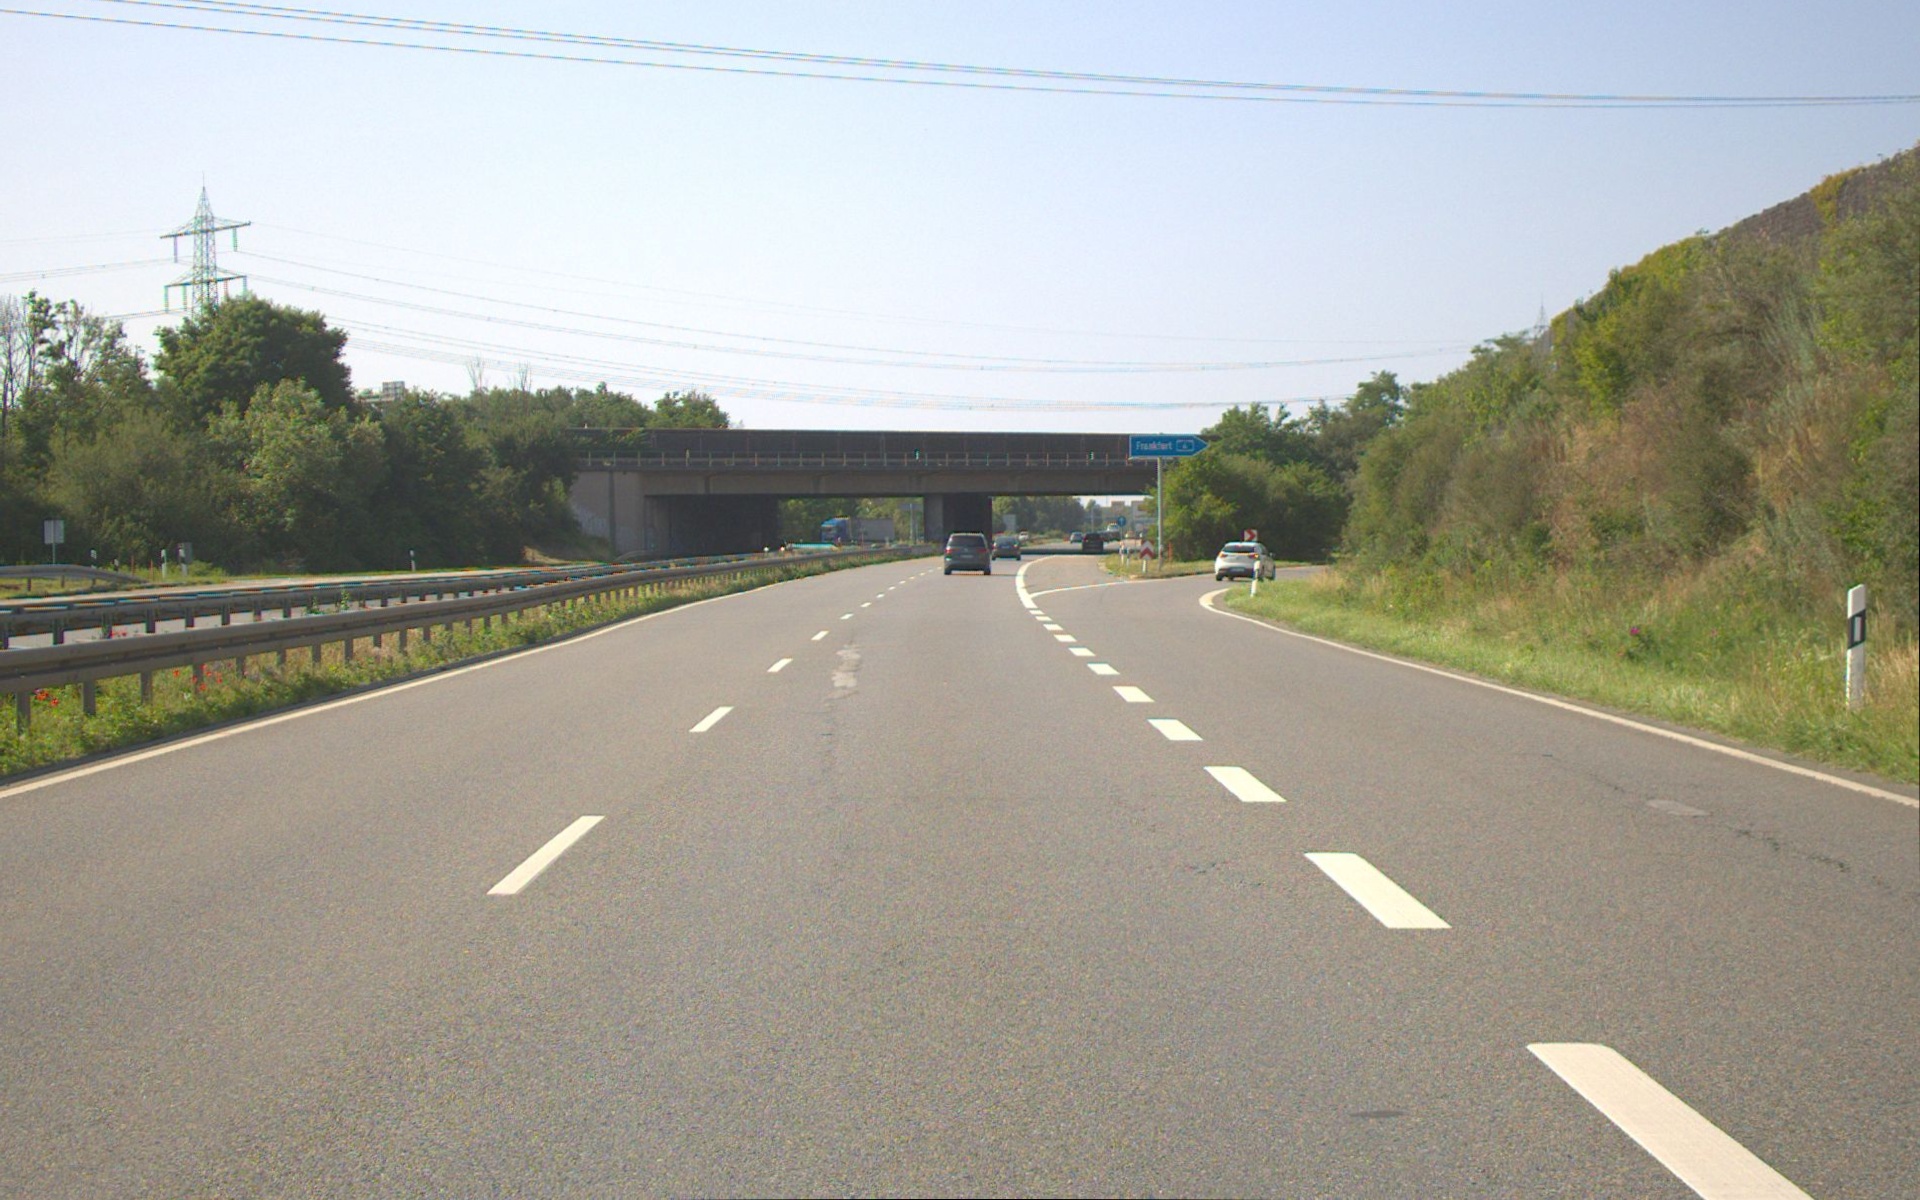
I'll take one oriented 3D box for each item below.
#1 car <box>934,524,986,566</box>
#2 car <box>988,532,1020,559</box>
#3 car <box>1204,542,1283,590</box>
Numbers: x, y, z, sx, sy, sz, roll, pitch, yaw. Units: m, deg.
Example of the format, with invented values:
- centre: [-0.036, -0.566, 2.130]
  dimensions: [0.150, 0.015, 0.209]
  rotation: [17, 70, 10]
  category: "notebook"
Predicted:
- centre: [0.012, -2.161, 135.089]
  dimensions: [1.850, 1.639, 4.000]
  rotation: [1, 1, 2]
  category: "car"
- centre: [2.723, -3.346, 212.125]
  dimensions: [1.850, 1.639, 4.000]
  rotation: [1, 1, 2]
  category: "car"
- centre: [10.430, -1.252, 126.324]
  dimensions: [1.798, 1.659, 3.996]
  rotation: [3, 2, 20]
  category: "car"
